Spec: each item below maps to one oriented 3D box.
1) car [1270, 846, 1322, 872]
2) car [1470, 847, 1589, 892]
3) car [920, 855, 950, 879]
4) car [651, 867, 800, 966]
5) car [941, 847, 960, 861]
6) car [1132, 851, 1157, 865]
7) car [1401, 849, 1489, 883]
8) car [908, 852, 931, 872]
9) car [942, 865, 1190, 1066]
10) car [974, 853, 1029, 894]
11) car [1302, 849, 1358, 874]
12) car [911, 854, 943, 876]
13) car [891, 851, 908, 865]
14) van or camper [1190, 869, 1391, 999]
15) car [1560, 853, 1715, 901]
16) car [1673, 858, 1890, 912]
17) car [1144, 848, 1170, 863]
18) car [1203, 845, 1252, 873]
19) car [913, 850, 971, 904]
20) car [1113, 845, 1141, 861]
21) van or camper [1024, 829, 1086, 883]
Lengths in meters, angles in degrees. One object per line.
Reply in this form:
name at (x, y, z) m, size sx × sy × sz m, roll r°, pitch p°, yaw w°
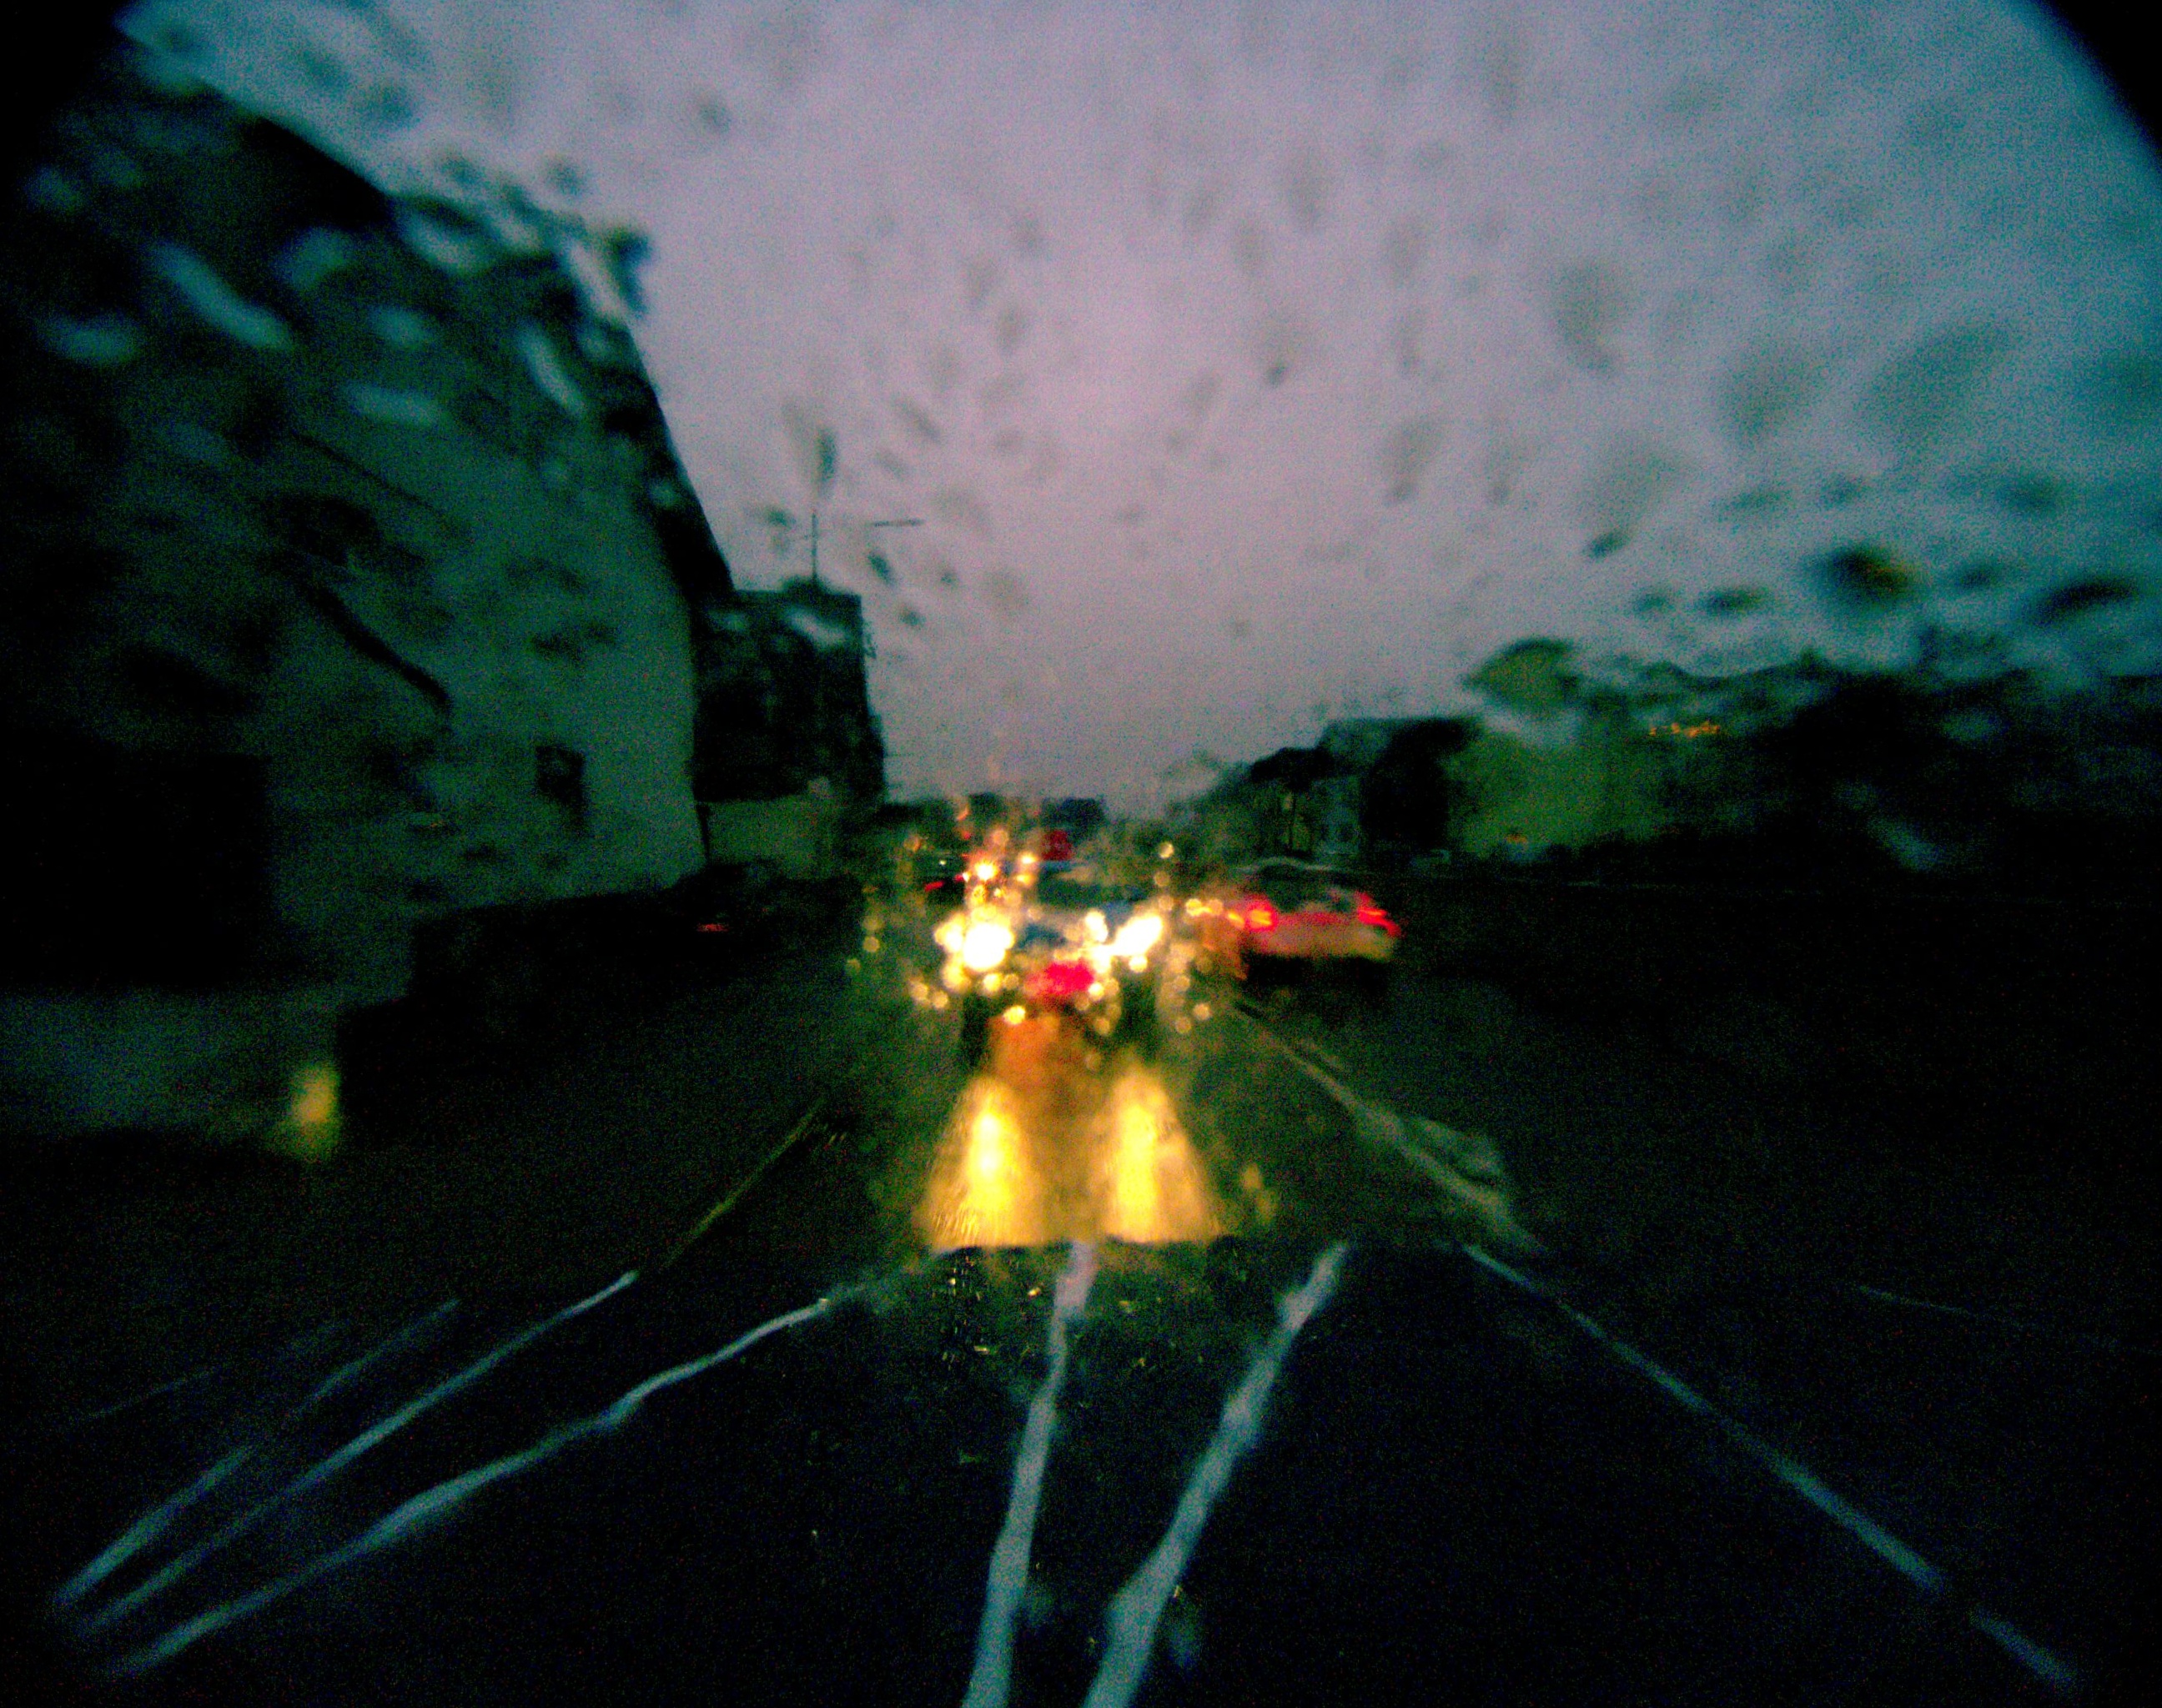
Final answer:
car at (15.077, 0.327, 53.406) m, size 1.864 × 1.672 × 3.996 m, roll -3°, pitch 1°, yaw -11°
car at (18.886, 0.613, 32.280) m, size 1.880 × 1.768 × 4.497 m, roll 1°, pitch 0°, yaw -9°
car at (-9.493, 0.823, 49.288) m, size 1.658 × 1.446 × 4.232 m, roll 1°, pitch 0°, yaw -14°
car at (-6.080, 0.973, 13.443) m, size 1.772 × 1.385 × 3.908 m, roll 1°, pitch 0°, yaw -16°
car at (-16.195, -0.013, 94.201) m, size 1.669 × 1.626 × 3.545 m, roll -2°, pitch 1°, yaw -18°
car at (7.521, 0.464, 90.101) m, size 1.903 × 1.509 × 3.995 m, roll -4°, pitch 2°, yaw -11°
car at (18.098, 0.561, 37.973) m, size 1.880 × 1.589 × 4.221 m, roll 1°, pitch 0°, yaw -9°
car at (-14.088, 0.673, 66.201) m, size 1.671 × 1.567 × 4.490 m, roll -1°, pitch 1°, yaw -16°
car at (-0.187, 0.959, 8.367) m, size 1.999 × 1.526 × 3.999 m, roll -3°, pitch 0°, yaw -2°
car at (-3.641, 0.805, 33.981) m, size 1.908 × 1.630 × 4.561 m, roll -2°, pitch 1°, yaw -12°
car at (16.109, 0.468, 49.396) m, size 1.775 × 1.515 × 4.027 m, roll -1°, pitch 1°, yaw -11°
car at (-12.122, 0.794, 59.634) m, size 1.964 × 1.524 × 5.001 m, roll -4°, pitch 1°, yaw -16°
car at (-22.247, 0.465, 93.008) m, size 1.814 × 1.555 × 4.298 m, roll -1°, pitch 1°, yaw -17°
van or camper at (2.565, 0.919, 10.107) m, size 1.566 × 1.347 × 3.420 m, roll 0°, pitch 0°, yaw -3°
car at (19.688, 0.762, 27.162) m, size 1.880 × 1.563 × 4.498 m, roll 1°, pitch 0°, yaw -7°
car at (20.179, 0.834, 22.202) m, size 1.880 × 1.425 × 4.498 m, roll 1°, pitch 0°, yaw -7°
car at (8.506, 0.149, 85.339) m, size 1.823 × 1.615 × 3.981 m, roll -4°, pitch 1°, yaw -11°
car at (9.935, 0.285, 51.689) m, size 1.806 × 1.793 × 3.855 m, roll -1°, pitch 1°, yaw -14°
car at (-5.002, 0.785, 27.858) m, size 1.775 × 1.771 × 3.997 m, roll 2°, pitch 0°, yaw -7°
car at (5.883, -0.179, 97.488) m, size 2.001 × 1.894 × 4.351 m, roll -4°, pitch 1°, yaw -17°
van or camper at (-1.523, 0.096, 40.978) m, size 2.248 × 2.653 × 6.548 m, roll -1°, pitch 0°, yaw -11°
